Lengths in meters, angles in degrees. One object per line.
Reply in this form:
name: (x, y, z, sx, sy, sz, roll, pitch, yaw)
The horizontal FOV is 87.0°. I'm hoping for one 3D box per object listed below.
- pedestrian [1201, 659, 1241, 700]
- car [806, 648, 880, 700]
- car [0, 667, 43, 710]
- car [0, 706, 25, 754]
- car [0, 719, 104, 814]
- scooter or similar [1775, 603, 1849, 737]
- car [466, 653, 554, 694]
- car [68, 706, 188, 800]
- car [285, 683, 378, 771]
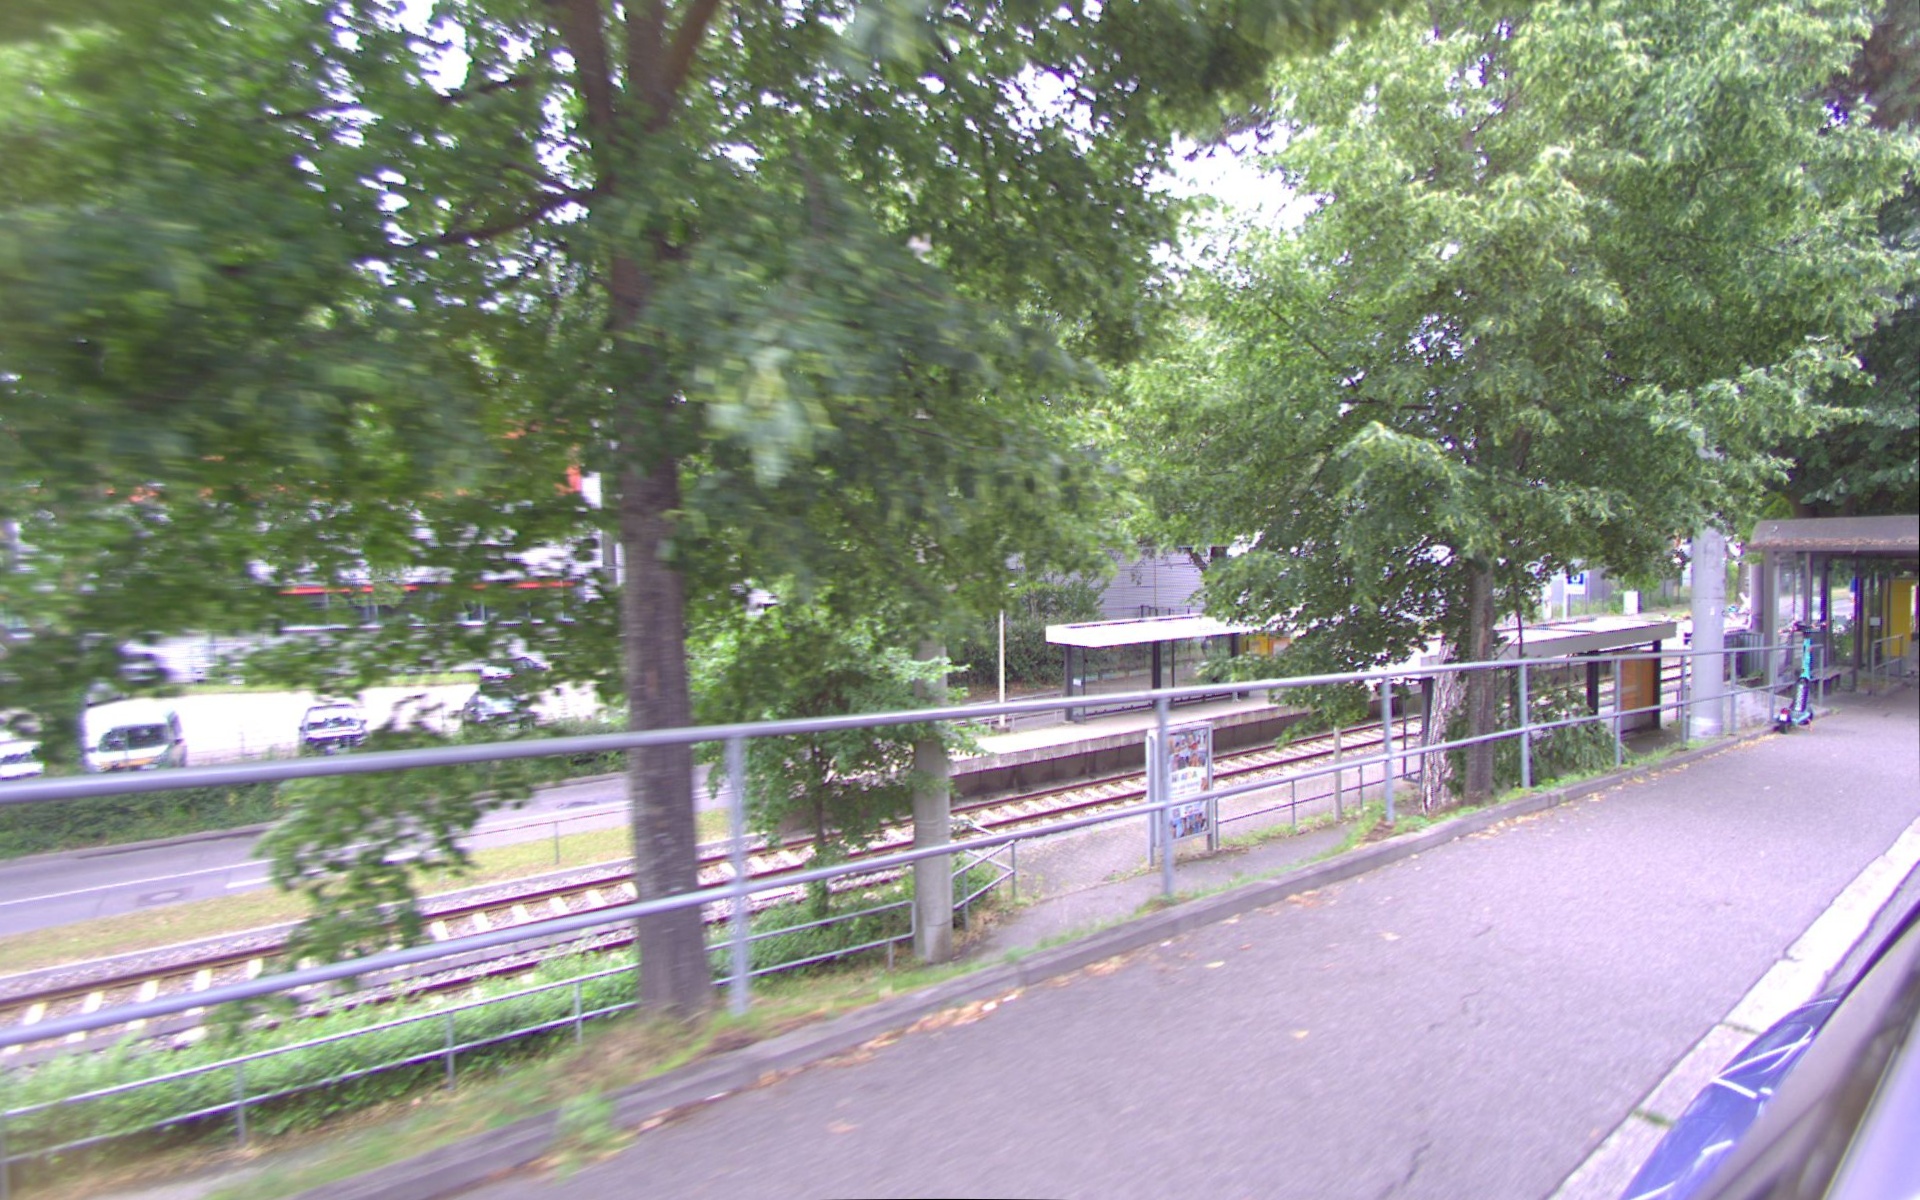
pedestrian: (8.219, 2.500, 31.858, 0.935, 1.181, 0.779, -1, 1, -34)
car: (-4.806, 2.942, 41.109, 1.958, 1.723, 4.008, 0, 1, -23)
car: (-42.576, 4.009, 43.811, 1.960, 1.485, 4.352, 0, 6, -4)
car: (-34.483, 4.448, 33.932, 4.254, 1.487, 2.003, 0, 1, -7)
car: (-25.504, 4.540, 28.111, 1.961, 1.814, 4.585, -1, 1, -31)
scooter or similar: (9.644, 0.747, 11.440, 1.430, 1.402, 0.430, -1, 1, -41)
car: (-19.834, 3.226, 44.830, 1.962, 1.393, 4.535, 0, 1, -1)
car: (-23.223, 4.182, 28.432, 1.961, 1.814, 4.585, -1, 1, -31)
car: (-19.111, 3.774, 30.714, 1.964, 2.039, 3.997, -1, 1, -38)
